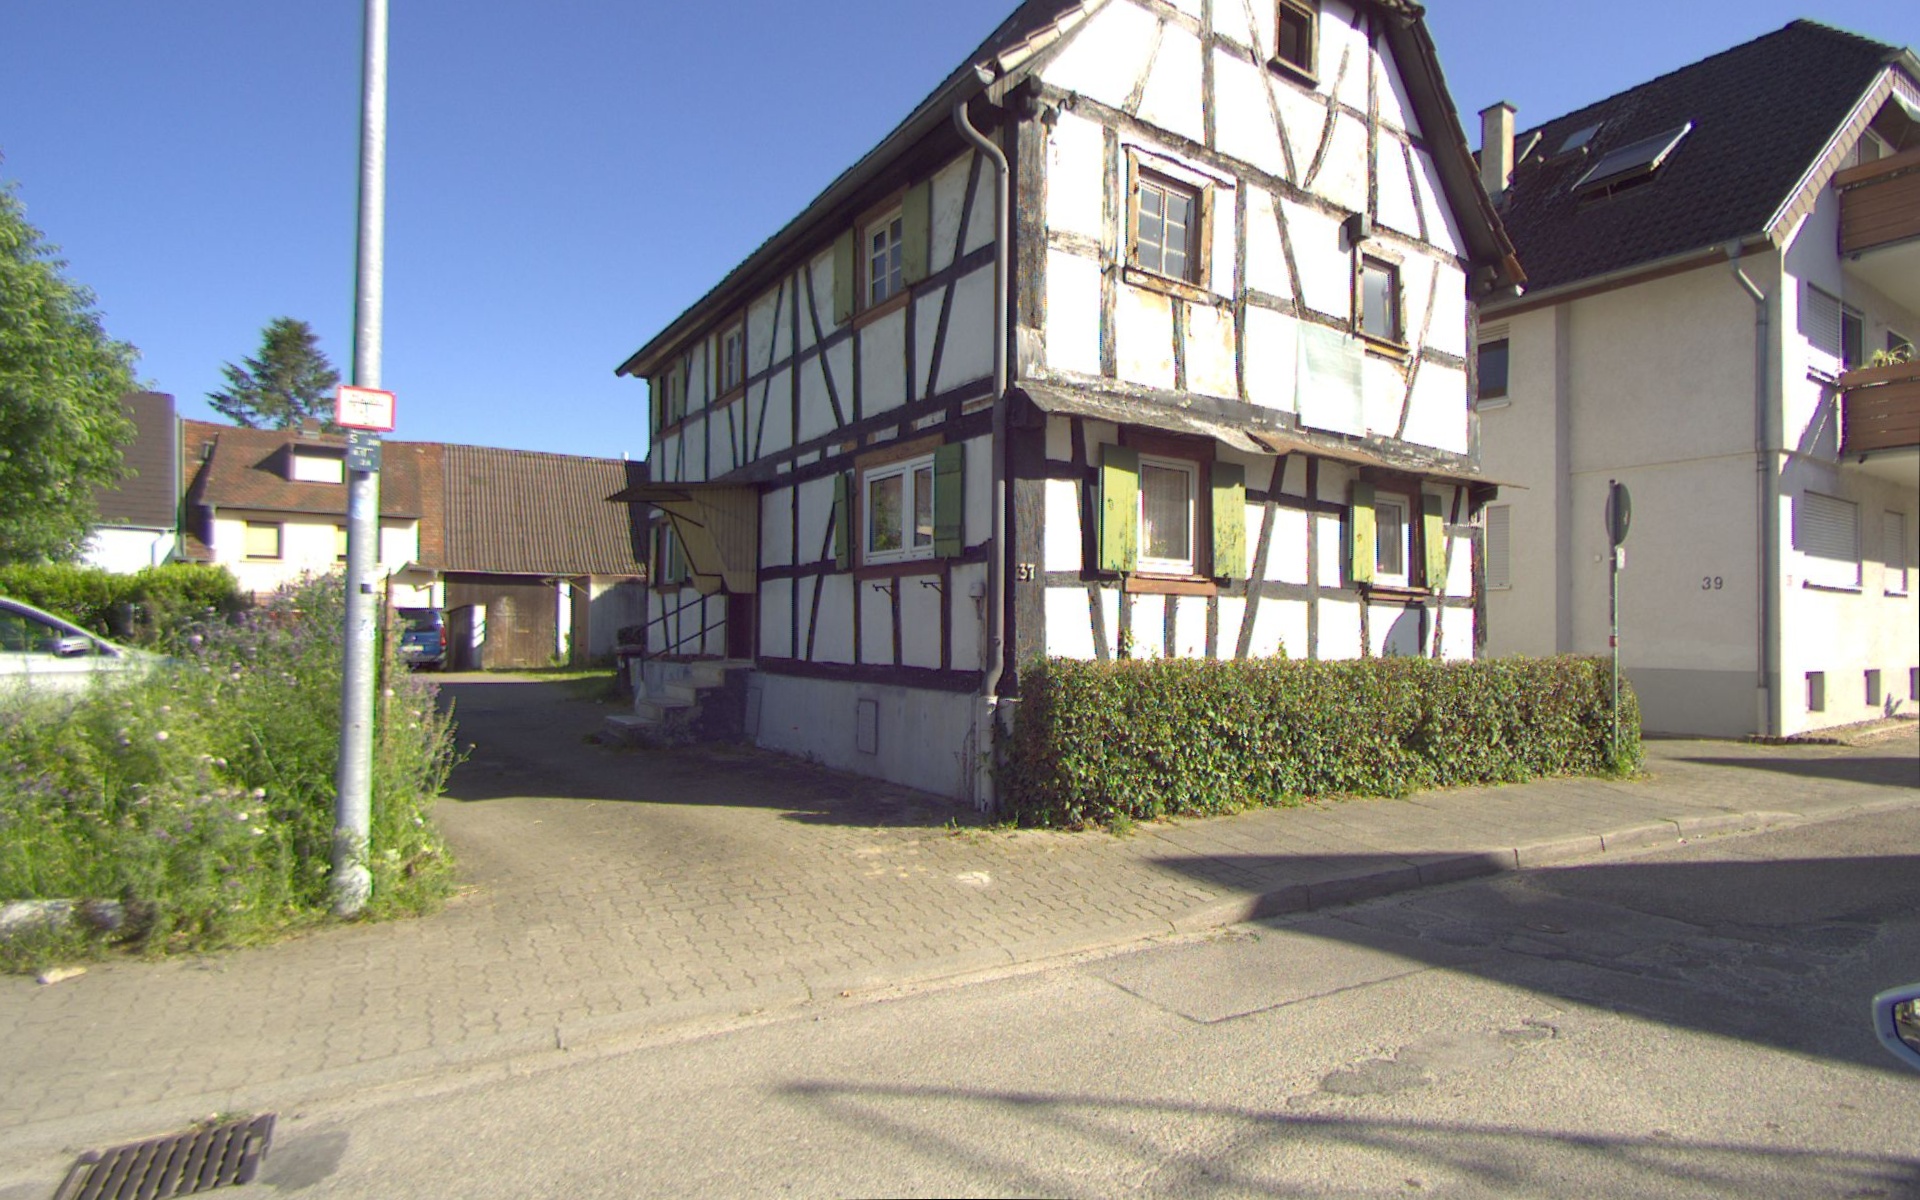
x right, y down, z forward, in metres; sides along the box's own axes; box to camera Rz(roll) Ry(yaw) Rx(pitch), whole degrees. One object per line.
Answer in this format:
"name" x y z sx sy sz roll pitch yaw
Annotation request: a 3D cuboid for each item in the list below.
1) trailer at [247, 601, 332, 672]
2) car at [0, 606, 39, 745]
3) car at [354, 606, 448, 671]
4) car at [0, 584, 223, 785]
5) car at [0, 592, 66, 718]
"trailer" -17.938 0.939 26.823 1.457 1.691 3.559 3 -1 -40
"car" -10.982 0.739 8.942 1.609 1.420 3.834 0 -1 15
"car" -15.812 1.049 28.309 1.695 1.657 3.906 2 -1 -38
"car" -8.381 0.639 7.882 1.655 1.585 4.002 1 -1 15
"car" -13.717 0.685 12.309 1.619 1.655 3.834 0 -2 15
